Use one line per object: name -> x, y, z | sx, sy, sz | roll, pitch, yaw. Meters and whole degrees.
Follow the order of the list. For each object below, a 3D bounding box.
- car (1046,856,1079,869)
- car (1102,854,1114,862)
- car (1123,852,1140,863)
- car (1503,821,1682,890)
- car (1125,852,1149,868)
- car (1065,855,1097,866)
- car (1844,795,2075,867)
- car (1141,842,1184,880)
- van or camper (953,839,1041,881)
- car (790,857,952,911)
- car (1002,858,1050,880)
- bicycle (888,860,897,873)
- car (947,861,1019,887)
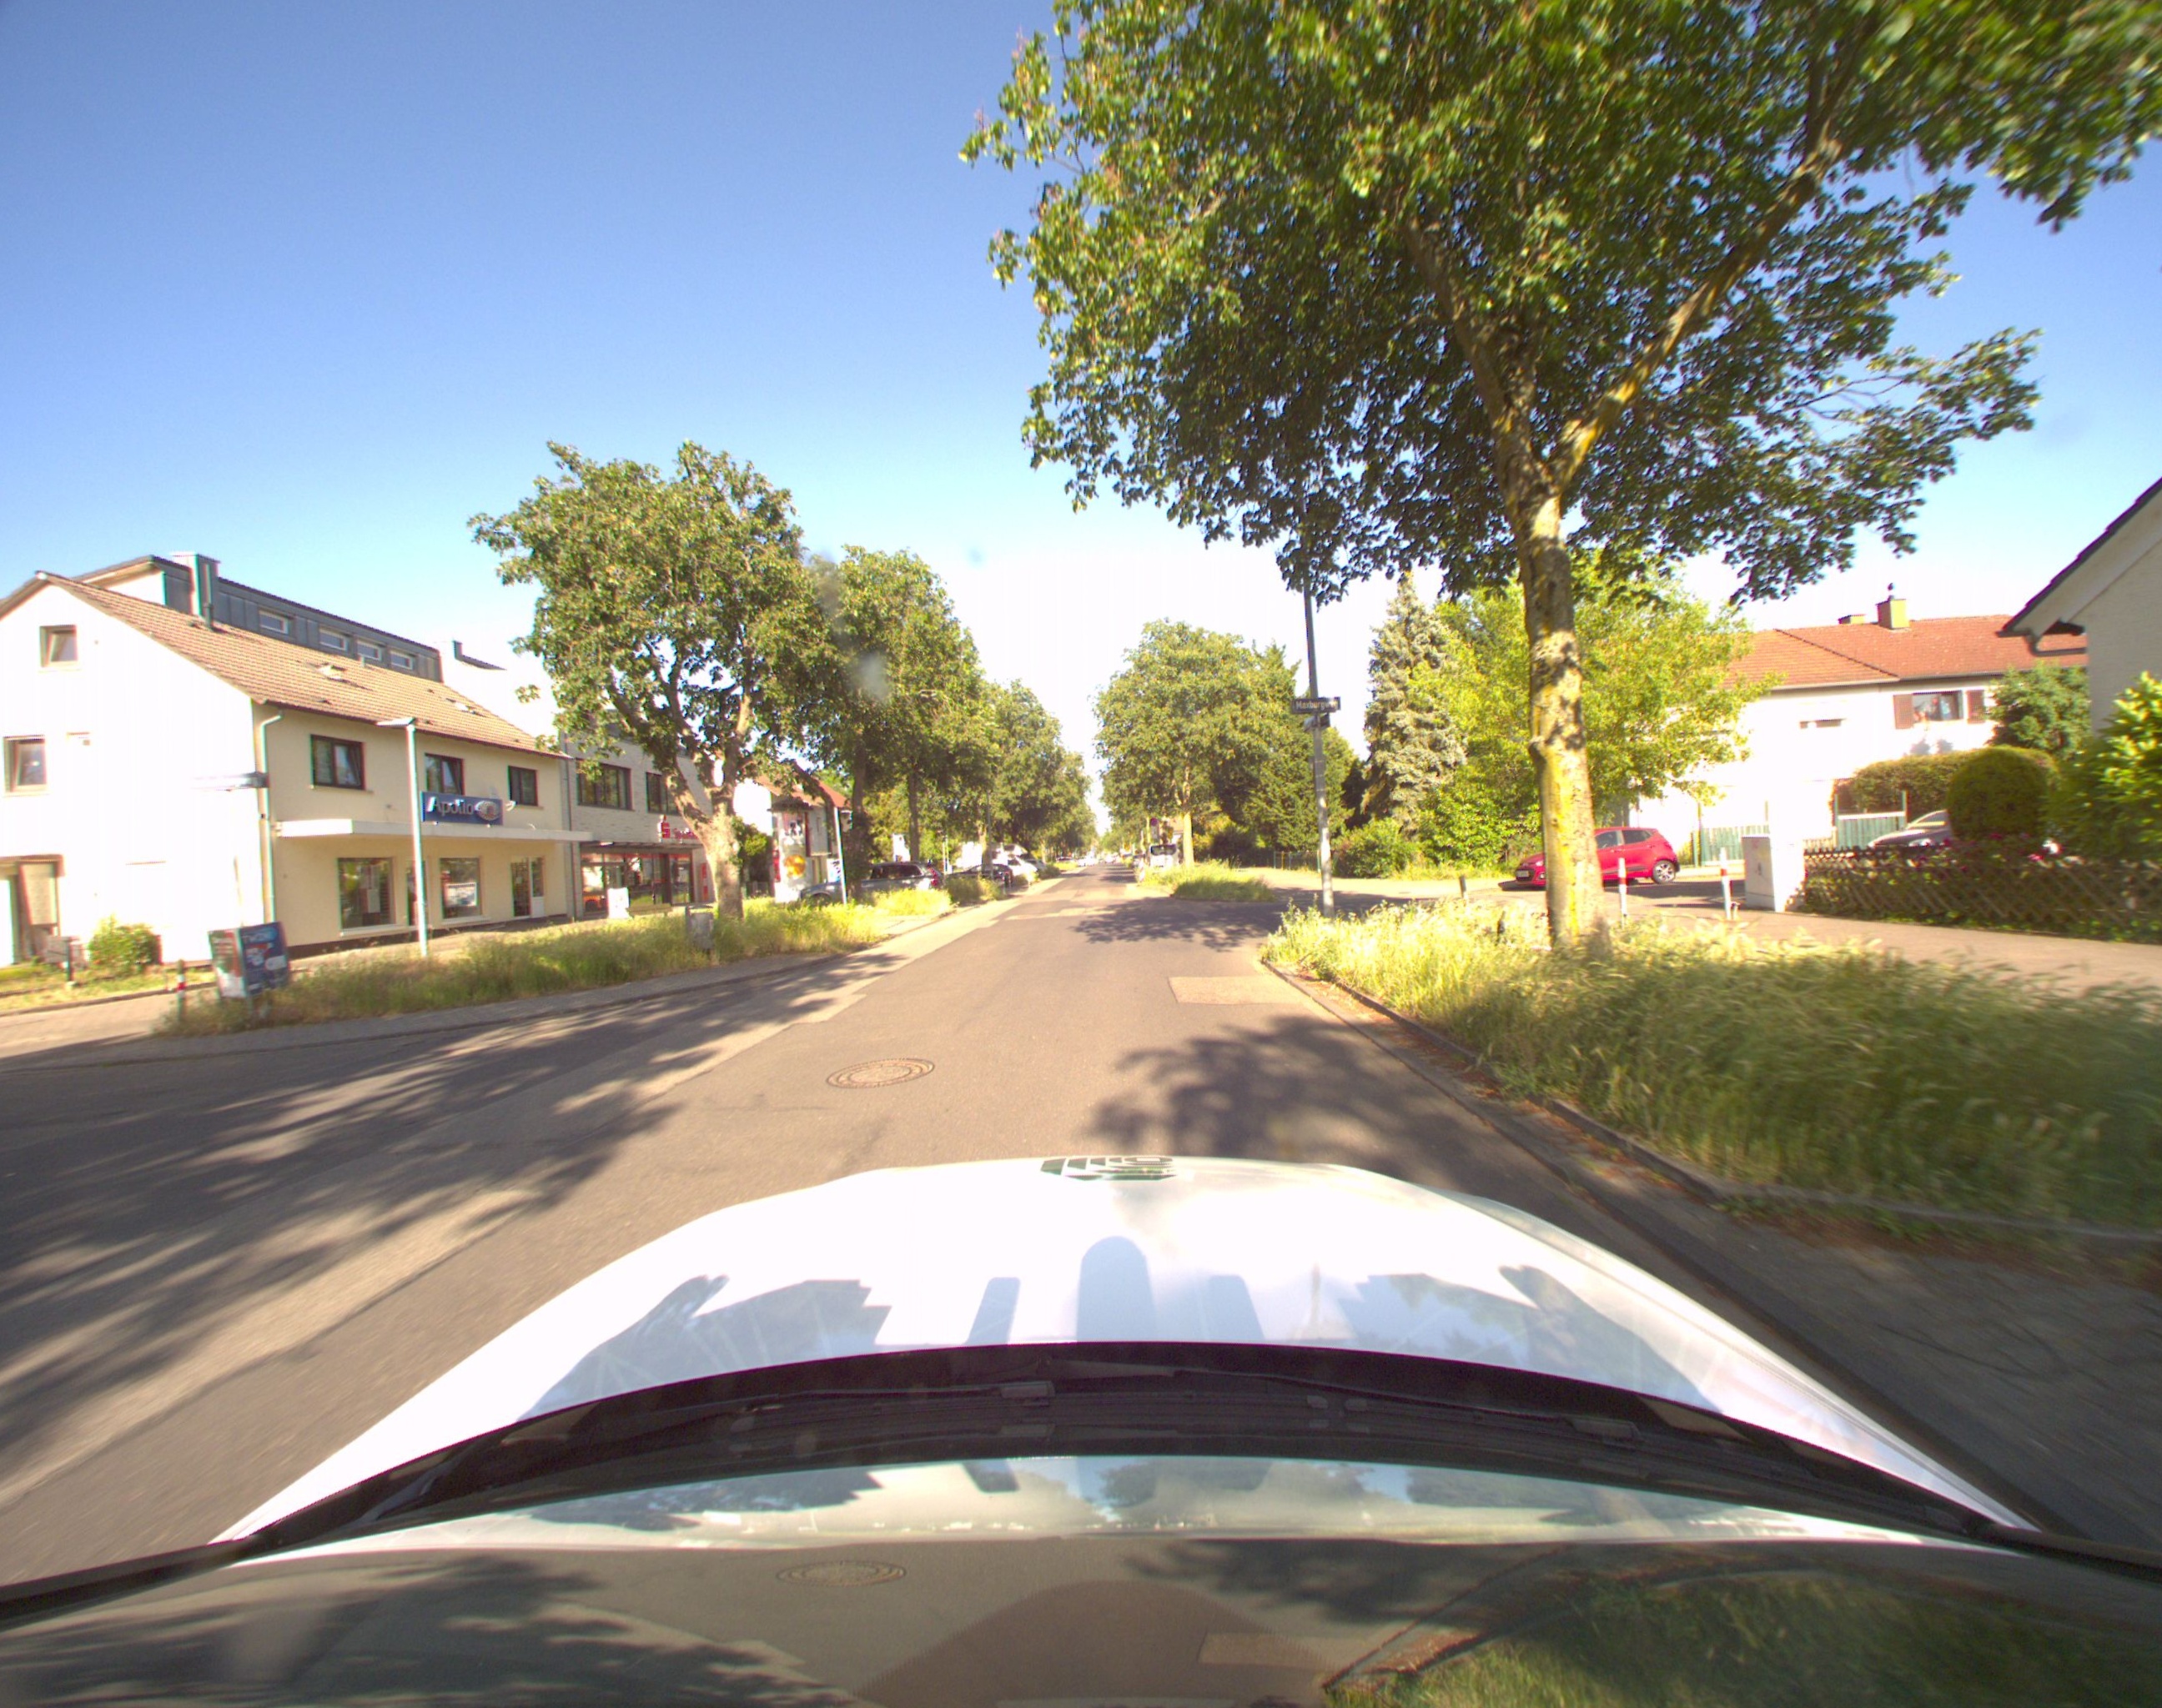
car -> -2.662, 1.233, 118.816 | 4.652, 1.503, 2.002 | -3, 0, 3
car -> 5.096, 0.715, 156.259 | 1.989, 1.508, 3.653 | 0, -1, -4
car -> 7.511, 0.557, 122.358 | 1.990, 1.622, 4.375 | 0, -1, -4
car -> 12.923, 0.013, 20.714 | 3.531, 1.510, 1.639 | -3, 1, -2
car -> 5.842, 0.644, 84.120 | 1.982, 1.510, 4.010 | -4, -1, 9
car -> 0.004, 0.983, 120.591 | 4.179, 1.455, 2.008 | -3, 0, 15
car -> 22.209, -0.569, 20.689 | 3.944, 1.510, 1.841 | -4, 0, -2
car -> 4.615, 0.401, 46.731 | 1.987, 2.014, 5.196 | 0, -1, 1
van or camper -> -5.718, 0.425, 55.848 | 5.751, 2.805, 2.002 | 0, -1, 3
car -> -7.111, 1.001, 27.970 | 5.048, 1.728, 1.998 | 0, -1, -2
car -> -4.863, 1.324, 72.566 | 3.973, 1.661, 1.967 | -3, 0, 0
bicycle -> -18.027, 1.145, 77.764 | 0.705, 1.176, 4.036 | -4, 0, -14
car -> -5.865, 1.202, 49.020 | 3.968, 1.450, 1.642 | -1, -1, 5
